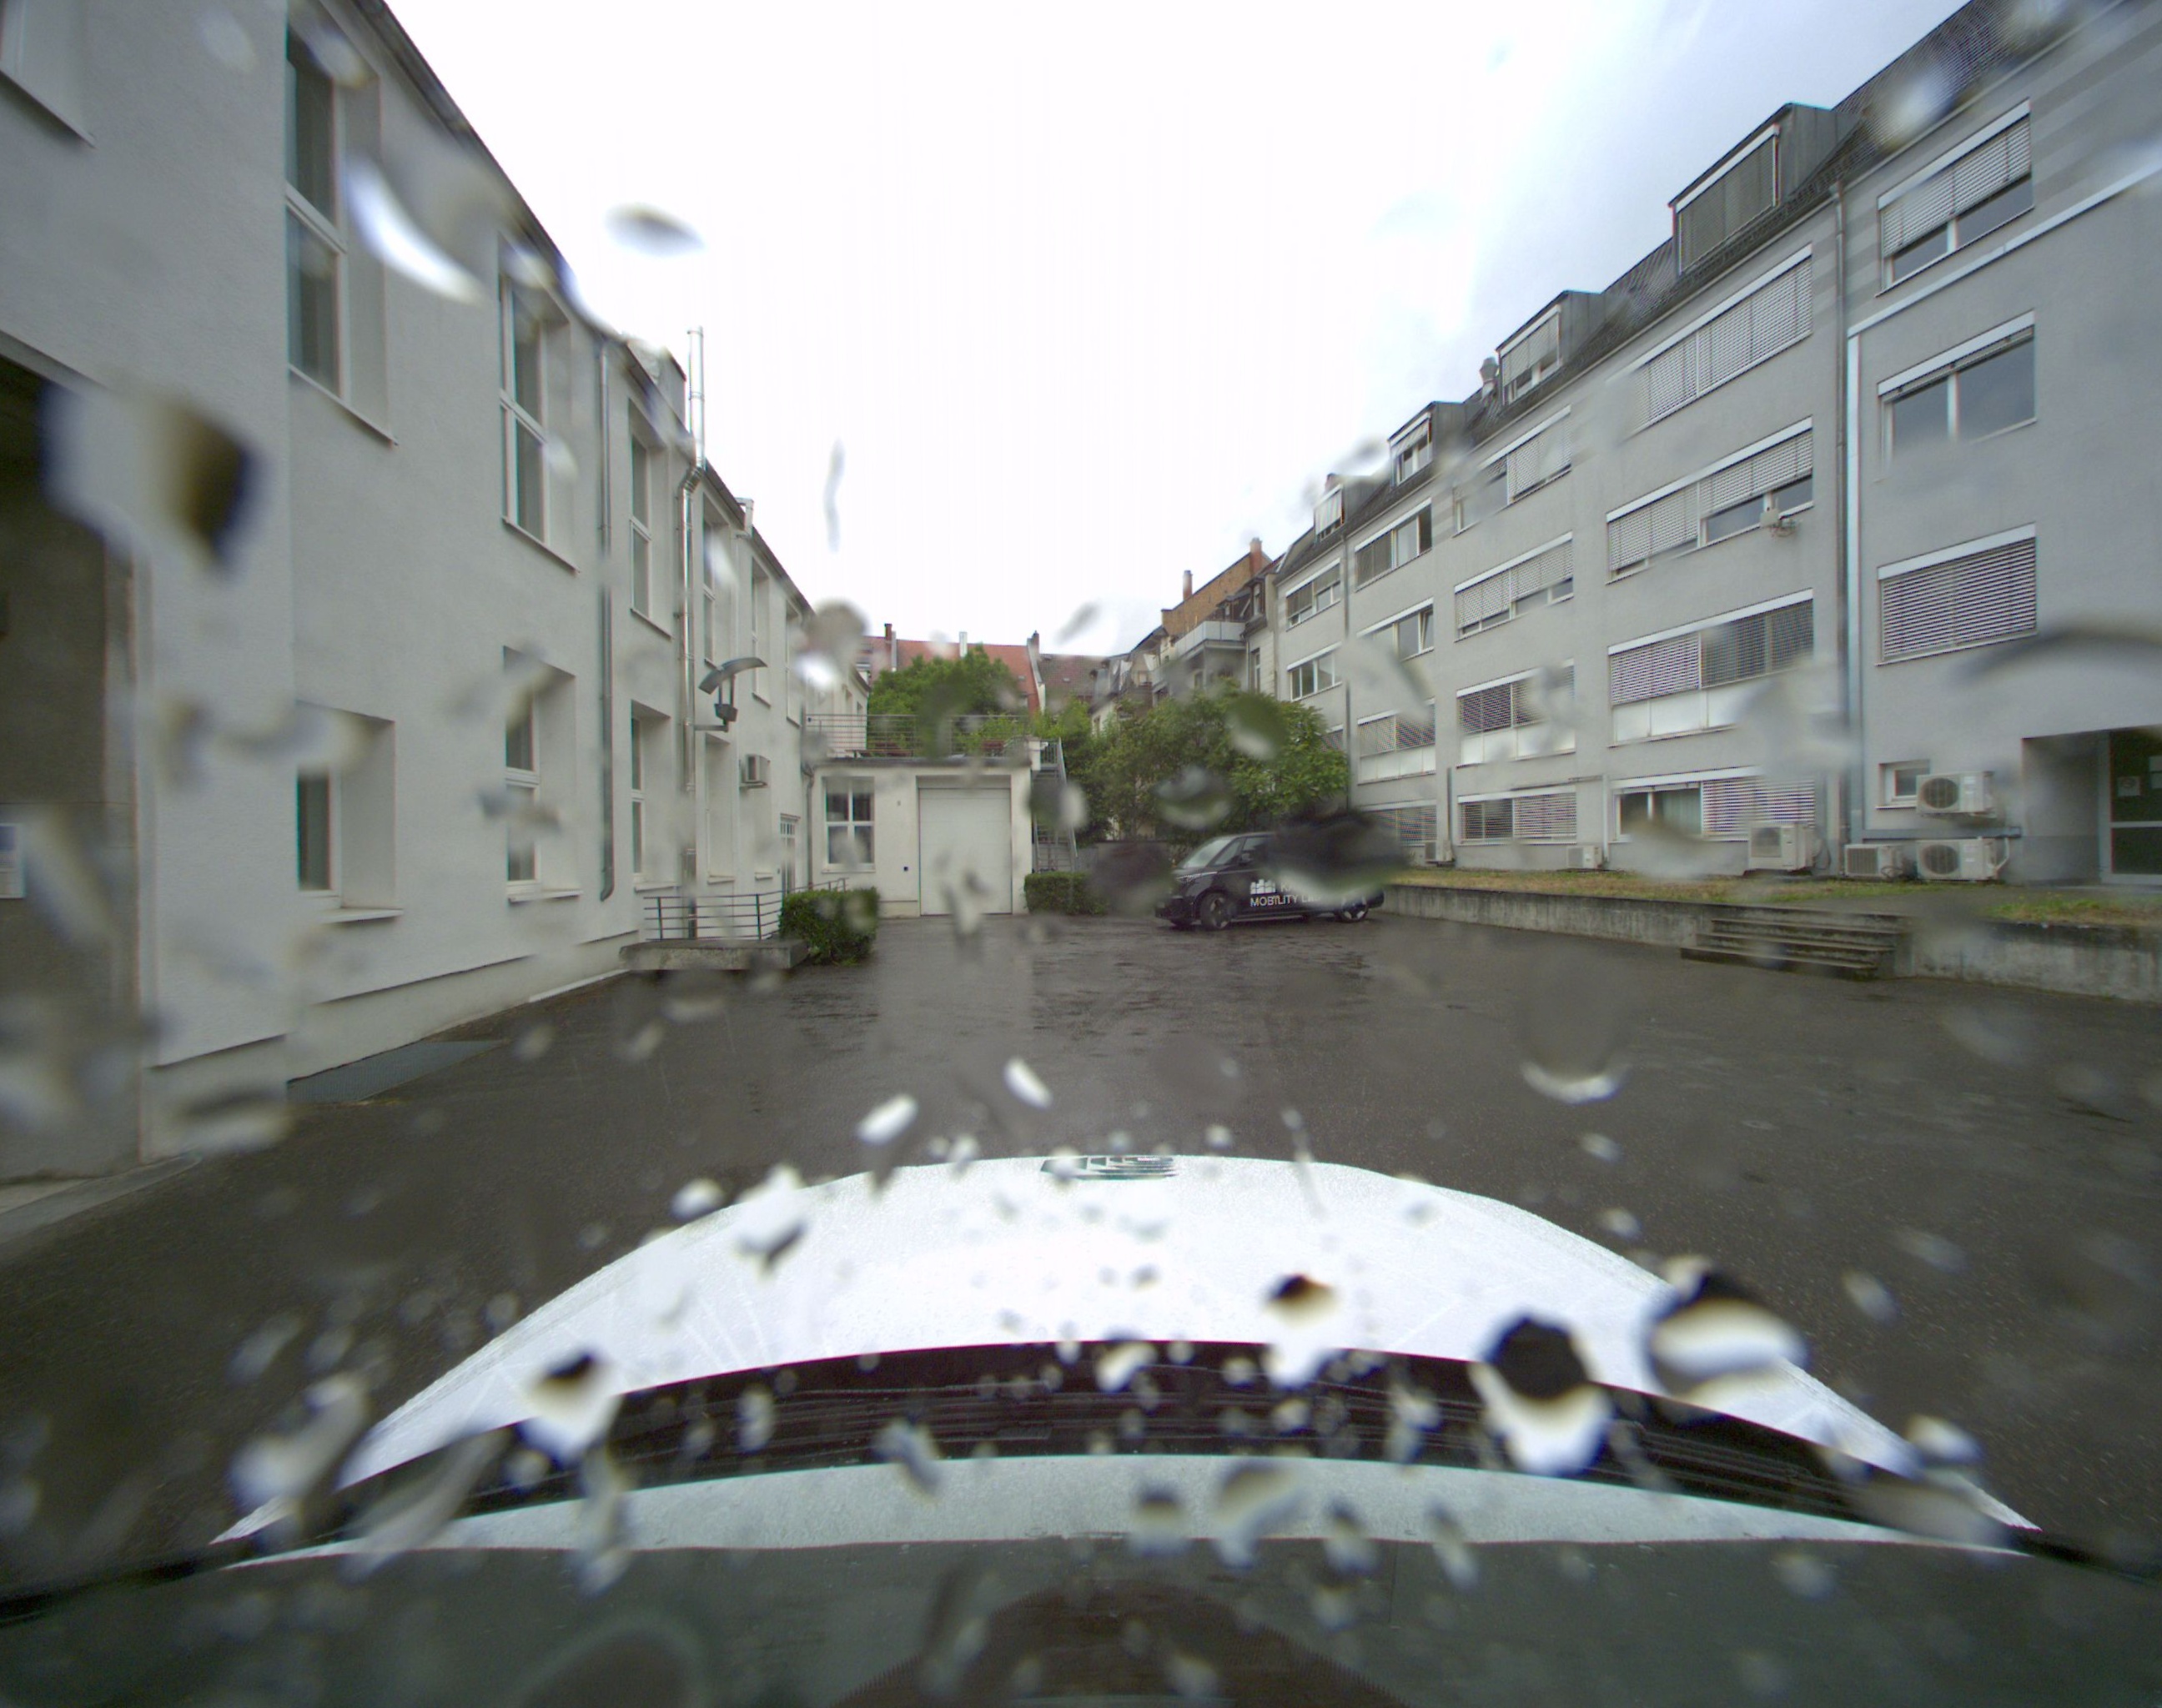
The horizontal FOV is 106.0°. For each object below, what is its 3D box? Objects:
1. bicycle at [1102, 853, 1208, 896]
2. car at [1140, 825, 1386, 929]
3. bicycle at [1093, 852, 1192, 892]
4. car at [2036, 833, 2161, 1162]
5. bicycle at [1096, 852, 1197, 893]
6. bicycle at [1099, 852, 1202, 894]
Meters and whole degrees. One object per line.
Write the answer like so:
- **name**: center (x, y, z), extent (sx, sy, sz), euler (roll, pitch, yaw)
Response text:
- **bicycle**: center (2.293, 0.614, 25.278), extent (3.214, 1.242, 0.629), euler (-1, -1, -11)
- **car**: center (3.704, 0.417, 16.811), extent (4.516, 1.897, 2.036), euler (-1, -1, -16)
- **bicycle**: center (2.063, 0.584, 27.286), extent (3.214, 1.242, 0.629), euler (-1, -1, -11)
- **car**: center (7.064, 0.631, 3.560), extent (4.209, 1.489, 1.992), euler (-1, 1, -12)
- **bicycle**: center (2.143, 0.593, 26.640), extent (3.214, 1.242, 0.629), euler (-1, -1, -11)
- **bicycle**: center (2.221, 0.603, 25.973), extent (3.214, 1.242, 0.629), euler (-1, -1, -11)
